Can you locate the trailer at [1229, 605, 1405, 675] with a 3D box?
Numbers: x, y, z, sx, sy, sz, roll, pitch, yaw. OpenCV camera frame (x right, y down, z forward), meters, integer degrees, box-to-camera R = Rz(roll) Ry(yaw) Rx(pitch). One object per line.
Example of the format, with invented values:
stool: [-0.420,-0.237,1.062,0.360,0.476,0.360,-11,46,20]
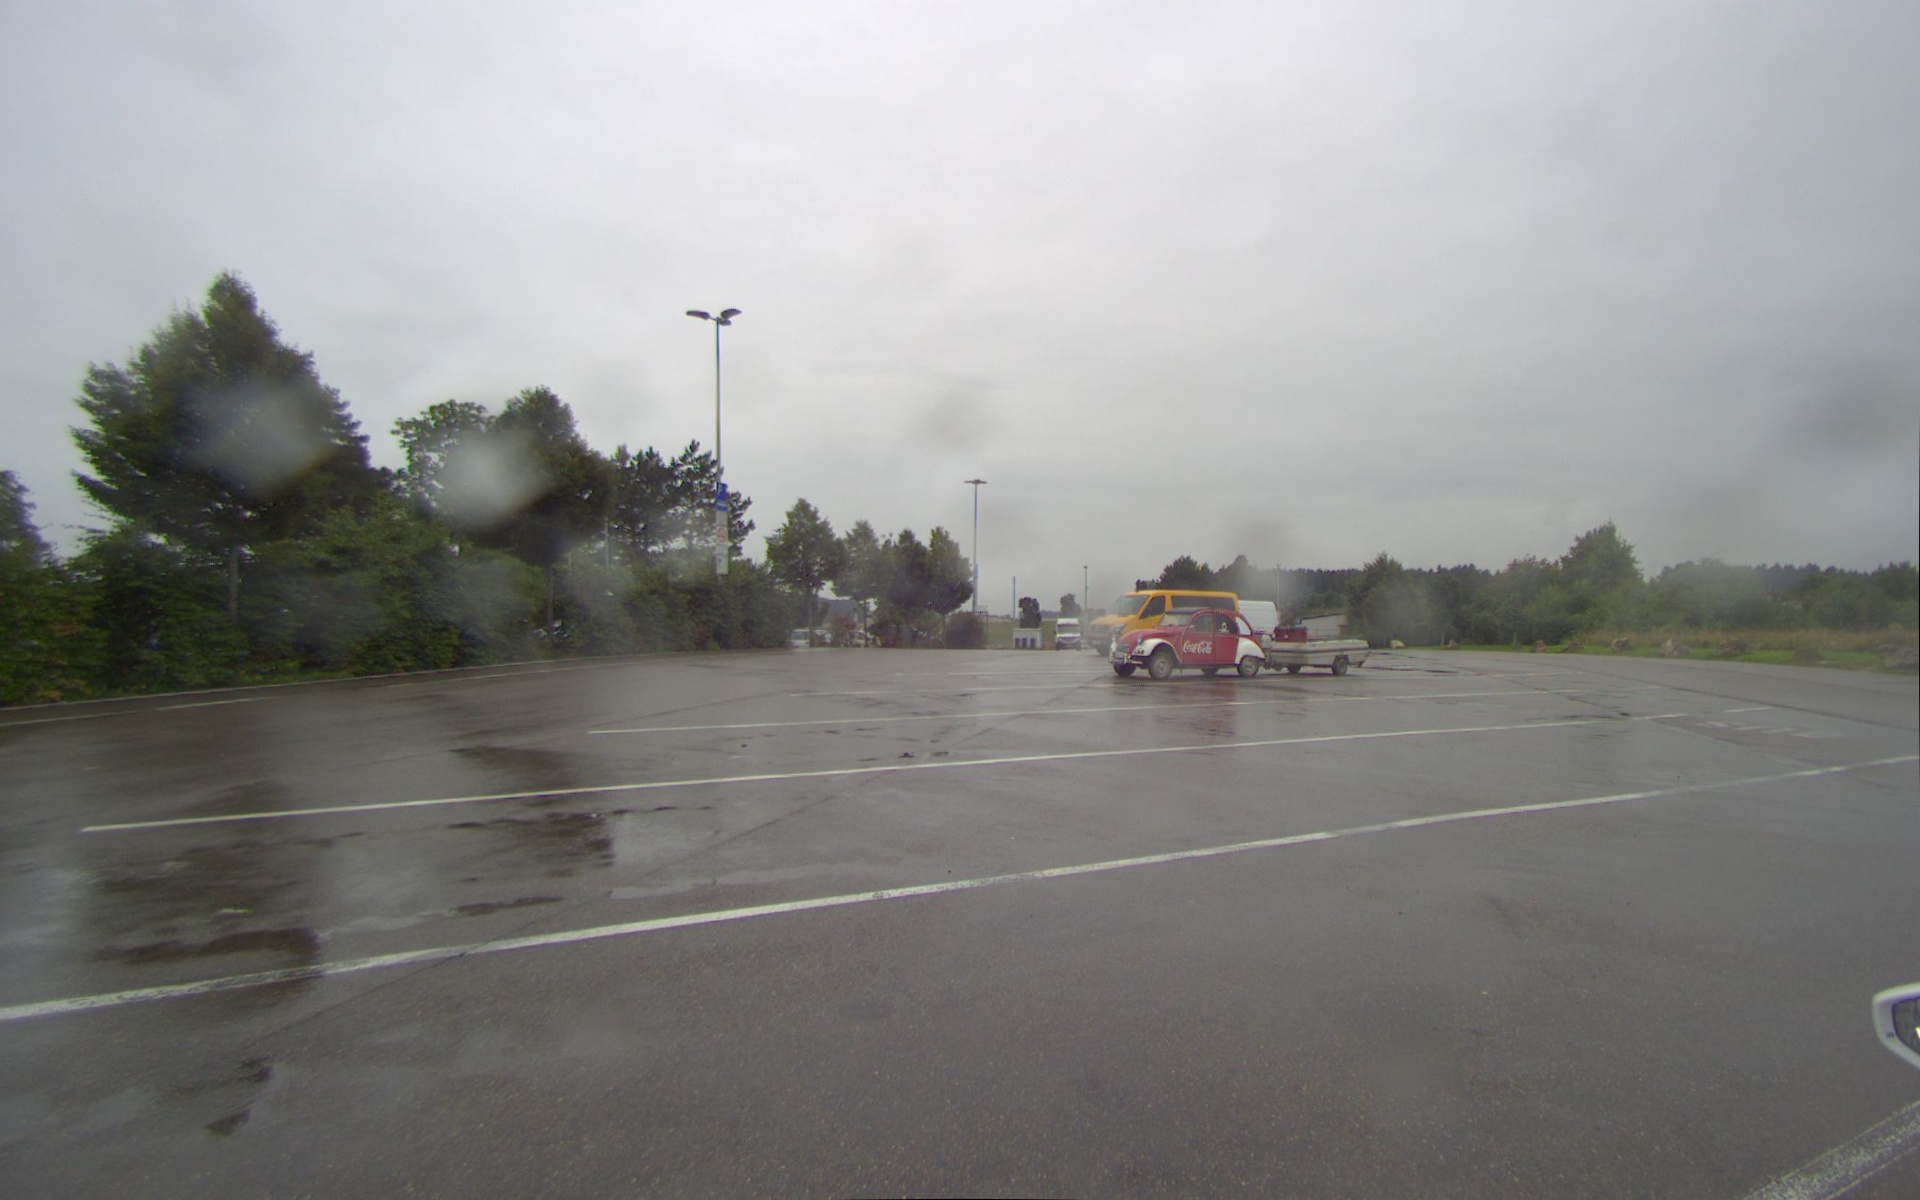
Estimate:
trailer: [8.471,0.919,23.798,3.948,1.553,1.689,0,-2,-27]

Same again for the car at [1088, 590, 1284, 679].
car: [4.953,0.756,21.996,3.948,1.800,1.816,1,-2,-27]

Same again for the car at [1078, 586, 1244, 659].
car: [7.155,0.858,35.562,5.955,2.411,1.985,2,-3,-30]

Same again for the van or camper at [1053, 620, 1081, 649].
van or camper: [8.348,2.707,78.492,1.960,2.195,4.002,0,-2,3]
